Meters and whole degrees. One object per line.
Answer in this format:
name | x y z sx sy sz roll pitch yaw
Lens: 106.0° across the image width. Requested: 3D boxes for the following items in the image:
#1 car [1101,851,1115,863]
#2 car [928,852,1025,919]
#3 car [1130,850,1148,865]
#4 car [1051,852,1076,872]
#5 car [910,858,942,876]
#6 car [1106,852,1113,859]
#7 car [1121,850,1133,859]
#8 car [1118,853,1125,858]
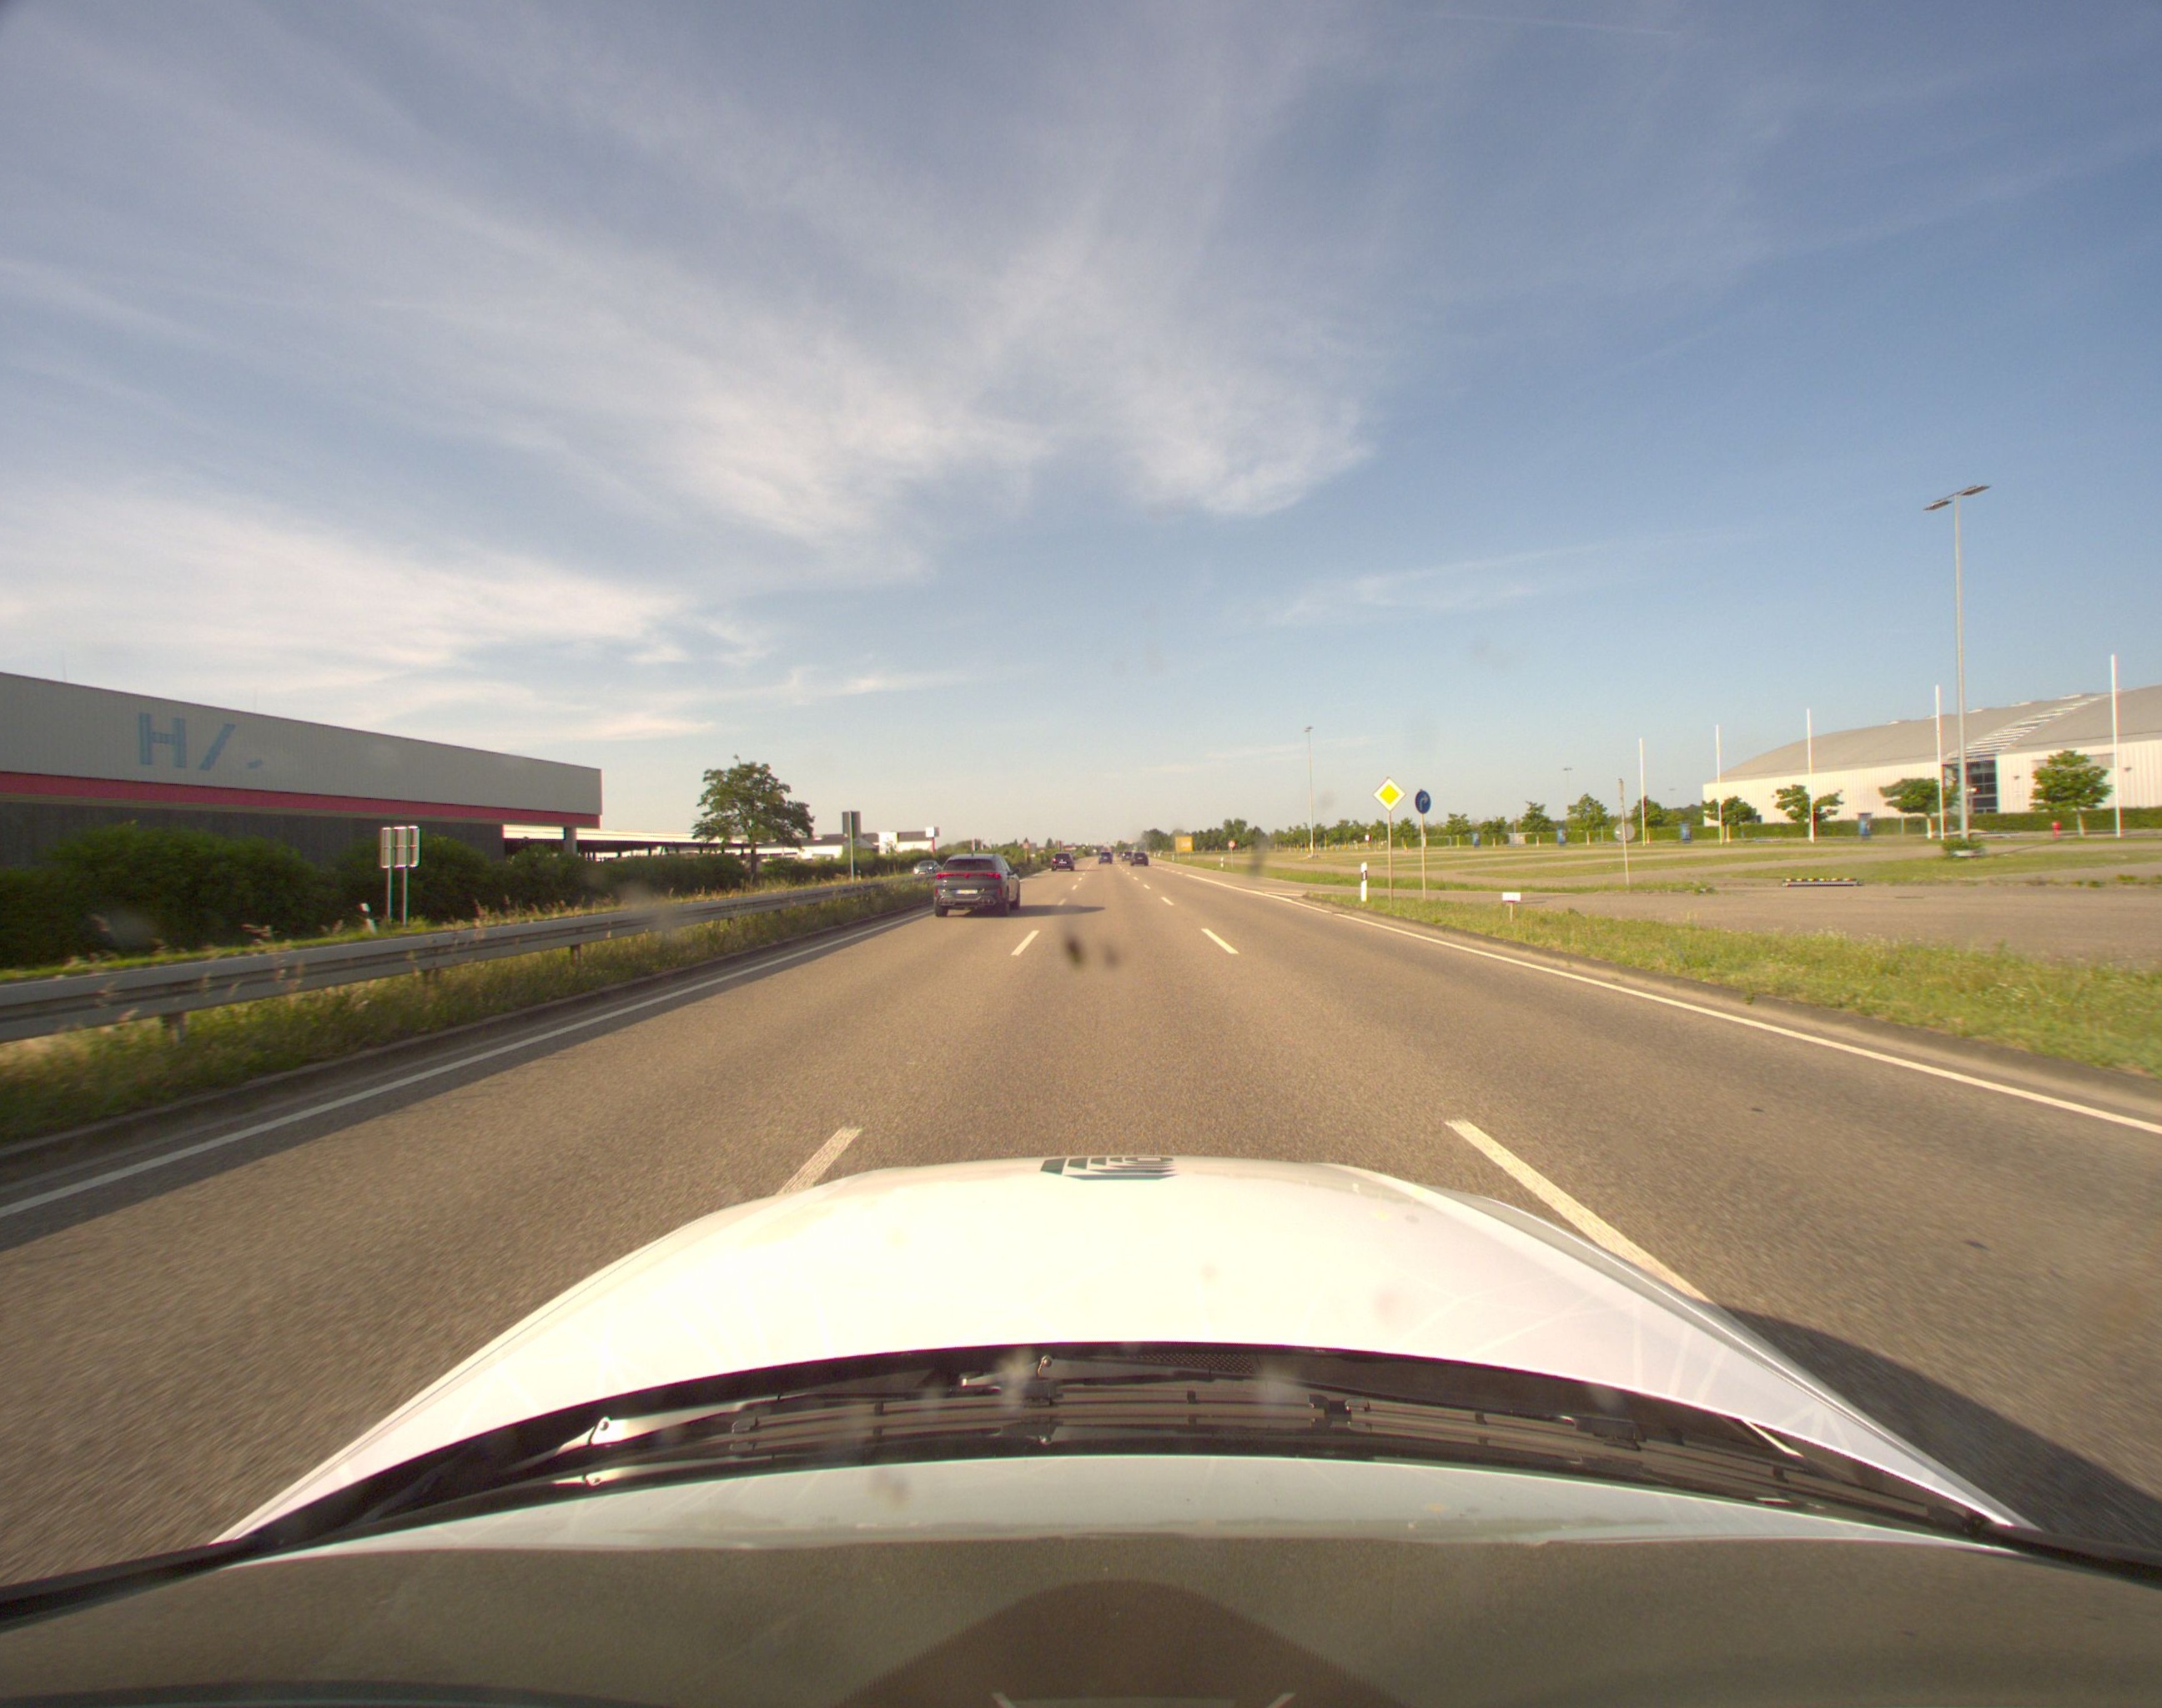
car | 3.659 0.381 109.574 1.806 1.463 4.403 0 0 2
car | -2.674 0.754 21.831 1.838 1.611 4.403 0 0 2
car | 6.670 0.353 93.997 1.925 1.680 4.403 0 0 2
car | -1.551 0.713 73.311 1.925 1.680 4.403 0 0 2
car | -13.139 1.109 69.203 1.772 1.424 4.002 -2 0 2
car | 6.644 0.370 192.067 1.639 1.728 3.402 -1 -1 2
car | 7.477 0.078 131.630 1.866 1.463 3.983 0 0 2
car | 10.151 0.431 204.085 1.497 1.313 3.157 0 0 2
